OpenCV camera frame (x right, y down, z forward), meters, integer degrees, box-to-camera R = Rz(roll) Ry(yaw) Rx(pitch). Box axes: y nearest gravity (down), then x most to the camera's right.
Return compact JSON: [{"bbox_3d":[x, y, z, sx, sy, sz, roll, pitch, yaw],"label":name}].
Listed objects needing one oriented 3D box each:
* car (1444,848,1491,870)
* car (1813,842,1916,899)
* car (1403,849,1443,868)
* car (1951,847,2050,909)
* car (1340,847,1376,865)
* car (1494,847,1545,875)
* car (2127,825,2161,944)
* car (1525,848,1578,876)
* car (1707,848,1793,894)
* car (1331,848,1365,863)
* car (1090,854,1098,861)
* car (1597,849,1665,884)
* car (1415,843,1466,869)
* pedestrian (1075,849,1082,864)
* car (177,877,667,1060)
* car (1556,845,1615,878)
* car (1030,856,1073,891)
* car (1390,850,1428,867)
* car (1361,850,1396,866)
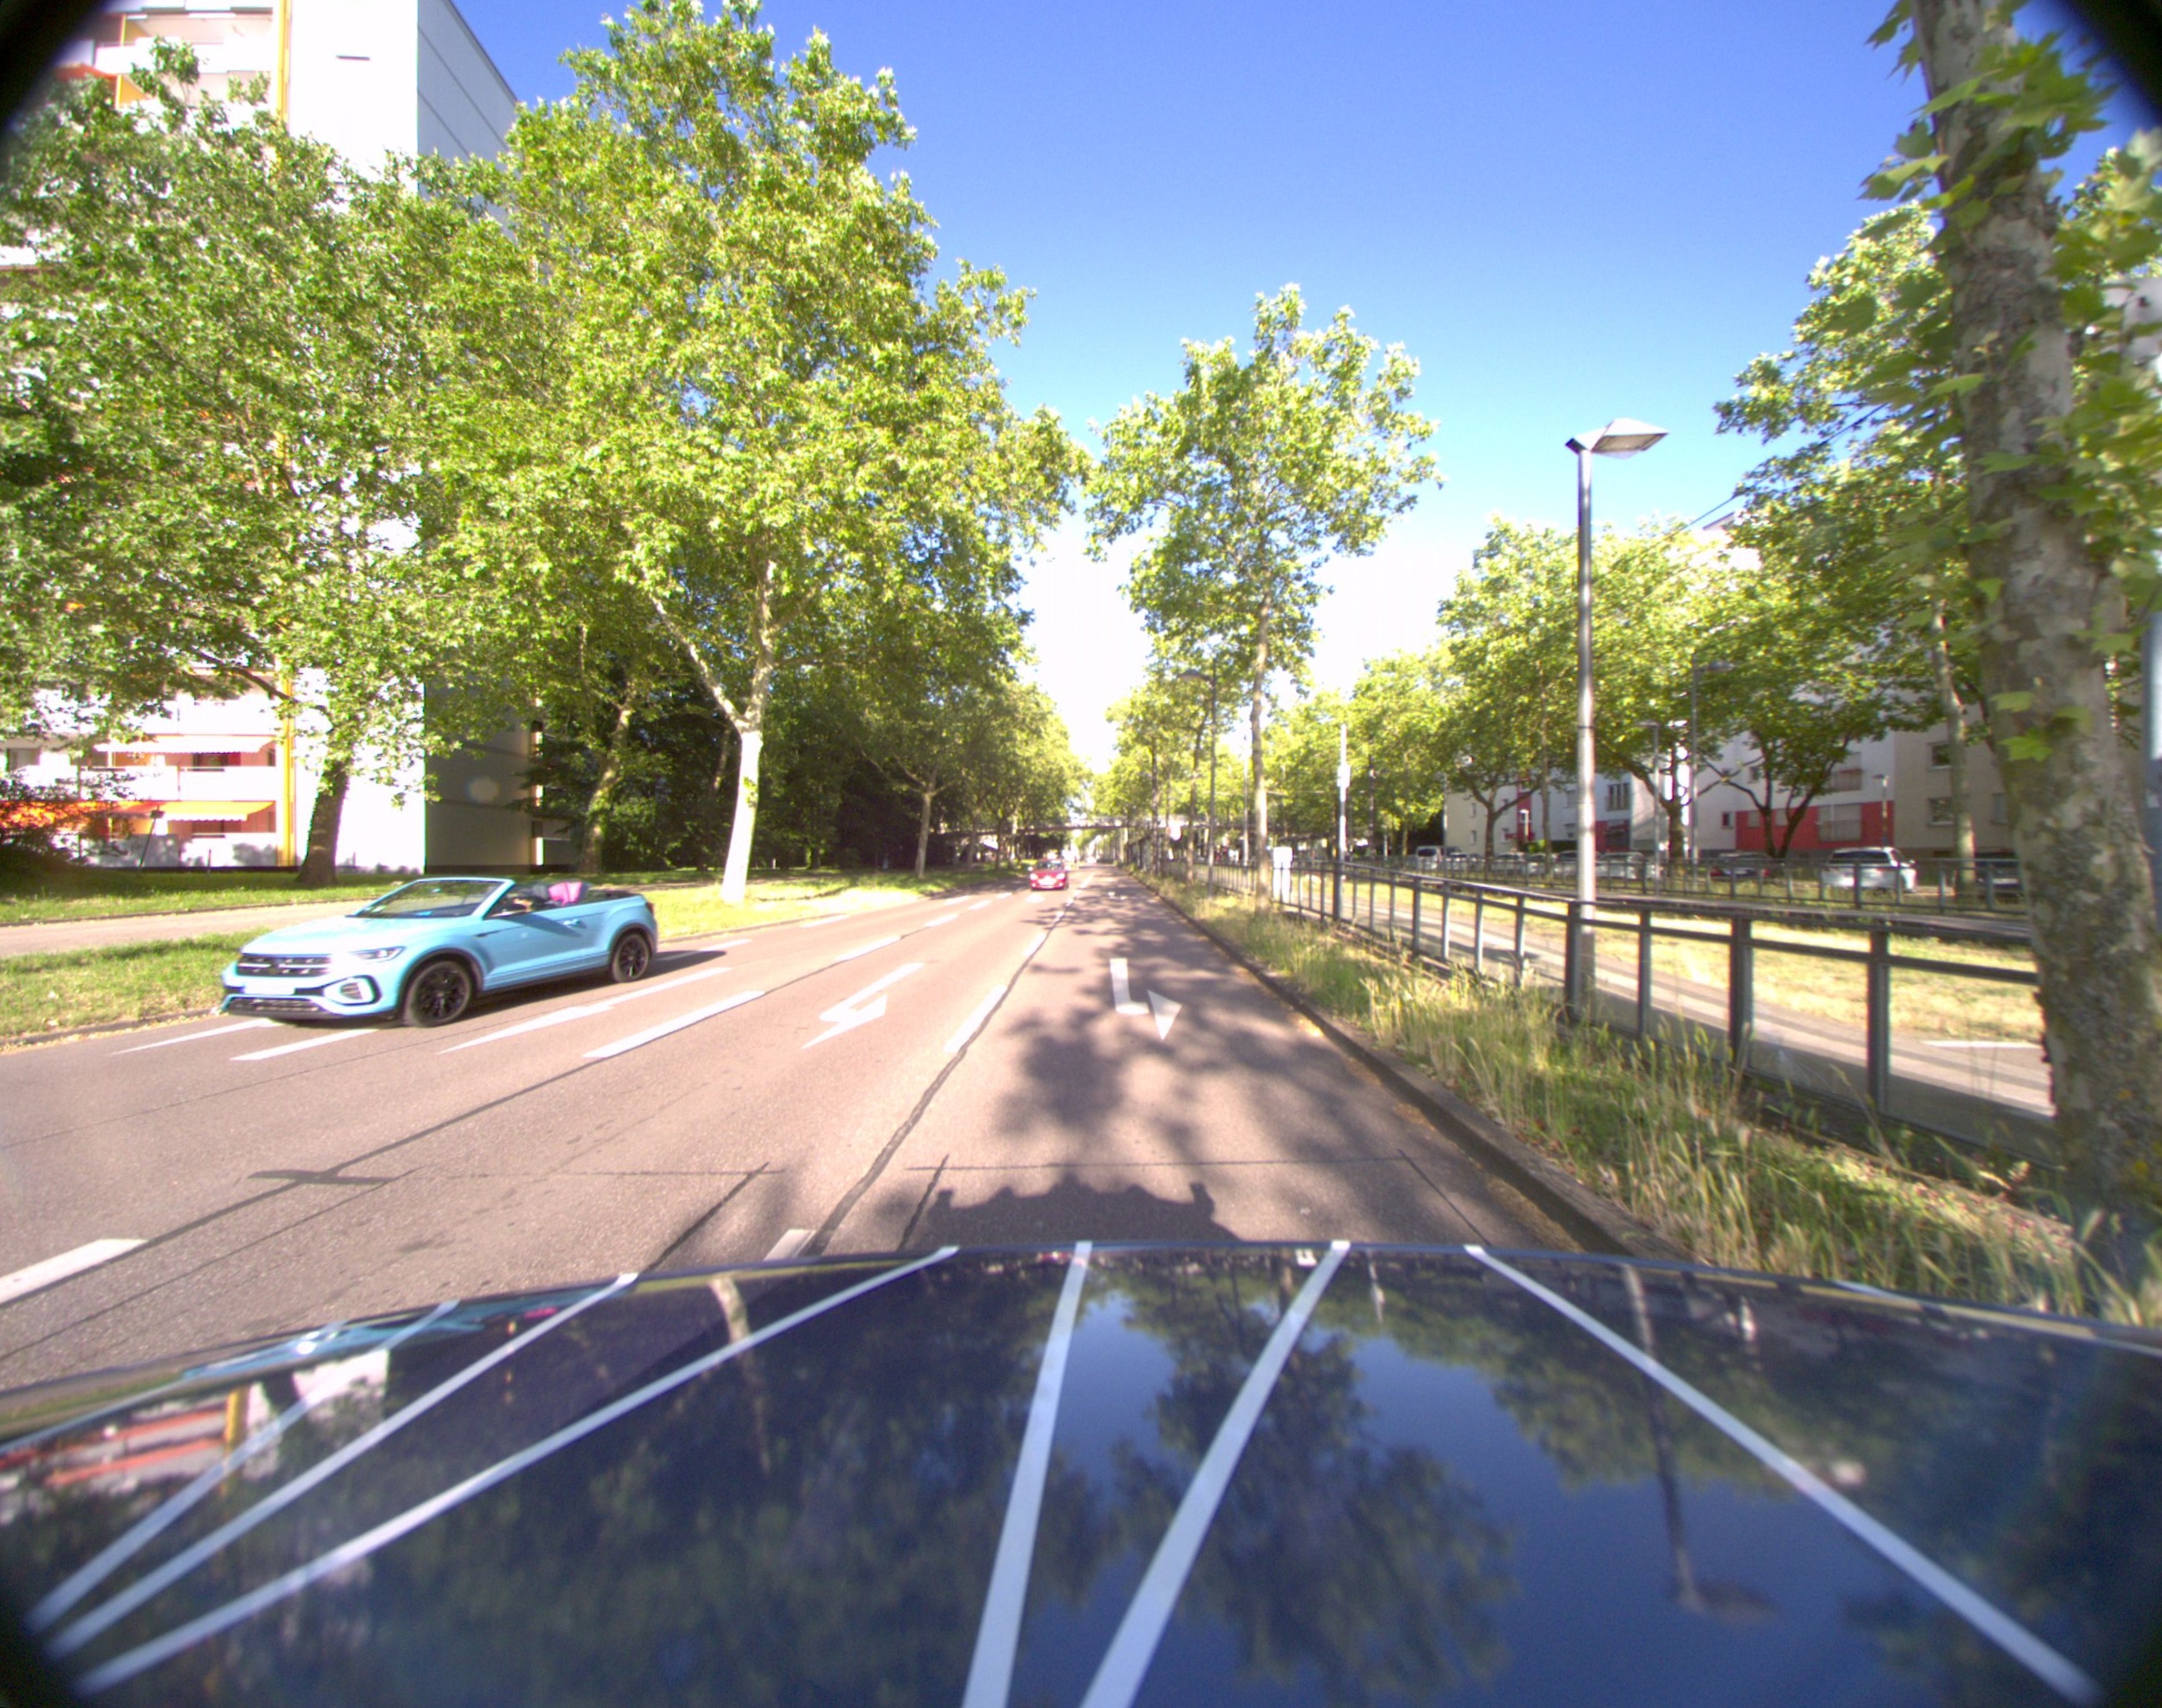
[{"bbox_3d":[26.245,0.331,51.593,3.494,1.395,1.623,-1,0,-41],"label":"car"},{"bbox_3d":[25.246,0.489,24.454,4.007,1.586,1.810,-3,1,-37],"label":"car"},{"bbox_3d":[26.067,0.346,57.847,3.494,1.336,1.476,-1,1,-41],"label":"car"},{"bbox_3d":[25.126,0.591,20.730,3.770,1.420,1.555,-3,1,-37],"label":"car"},{"bbox_3d":[25.995,0.183,71.165,3.835,1.561,1.597,-1,1,-43],"label":"car"},{"bbox_3d":[26.067,0.417,45.135,3.493,1.417,1.558,-3,-1,-42],"label":"car"},{"bbox_3d":[18.745,0.495,10.642,1.796,1.980,4.652,-1,0,0],"label":"car"},{"bbox_3d":[26.132,0.422,42.162,3.493,1.321,1.476,-3,0,-41],"label":"car"},{"bbox_3d":[25.087,0.591,28.461,4.007,1.479,1.626,-3,1,-37],"label":"car"},{"bbox_3d":[27.112,0.142,77.098,3.742,1.517,1.597,-1,1,-43],"label":"car"},{"bbox_3d":[3.045,0.822,180.831,1.798,1.465,3.999,-3,1,-1],"label":"car"},{"bbox_3d":[25.709,0.580,35.483,3.890,1.406,1.486,-3,1,-37],"label":"car"},{"bbox_3d":[25.921,0.135,54.706,4.056,1.802,1.864,-1,1,-41],"label":"car"},{"bbox_3d":[-0.338,0.326,100.267,0.919,2.002,0.962,-3,1,-1],"label":"pedestrian"},{"bbox_3d":[-7.026,1.082,8.821,1.737,1.442,4.134,-1,0,8],"label":"car"},{"bbox_3d":[25.925,0.363,39.049,3.402,1.499,1.461,-3,1,-37],"label":"car"},{"bbox_3d":[-1.304,0.864,35.033,1.646,1.430,3.761,-2,1,3],"label":"car"},{"bbox_3d":[26.557,0.360,61.444,3.494,1.293,1.476,-1,0,-41],"label":"car"},{"bbox_3d":[26.456,0.330,67.534,3.494,1.312,1.476,-1,1,-41],"label":"car"}]
